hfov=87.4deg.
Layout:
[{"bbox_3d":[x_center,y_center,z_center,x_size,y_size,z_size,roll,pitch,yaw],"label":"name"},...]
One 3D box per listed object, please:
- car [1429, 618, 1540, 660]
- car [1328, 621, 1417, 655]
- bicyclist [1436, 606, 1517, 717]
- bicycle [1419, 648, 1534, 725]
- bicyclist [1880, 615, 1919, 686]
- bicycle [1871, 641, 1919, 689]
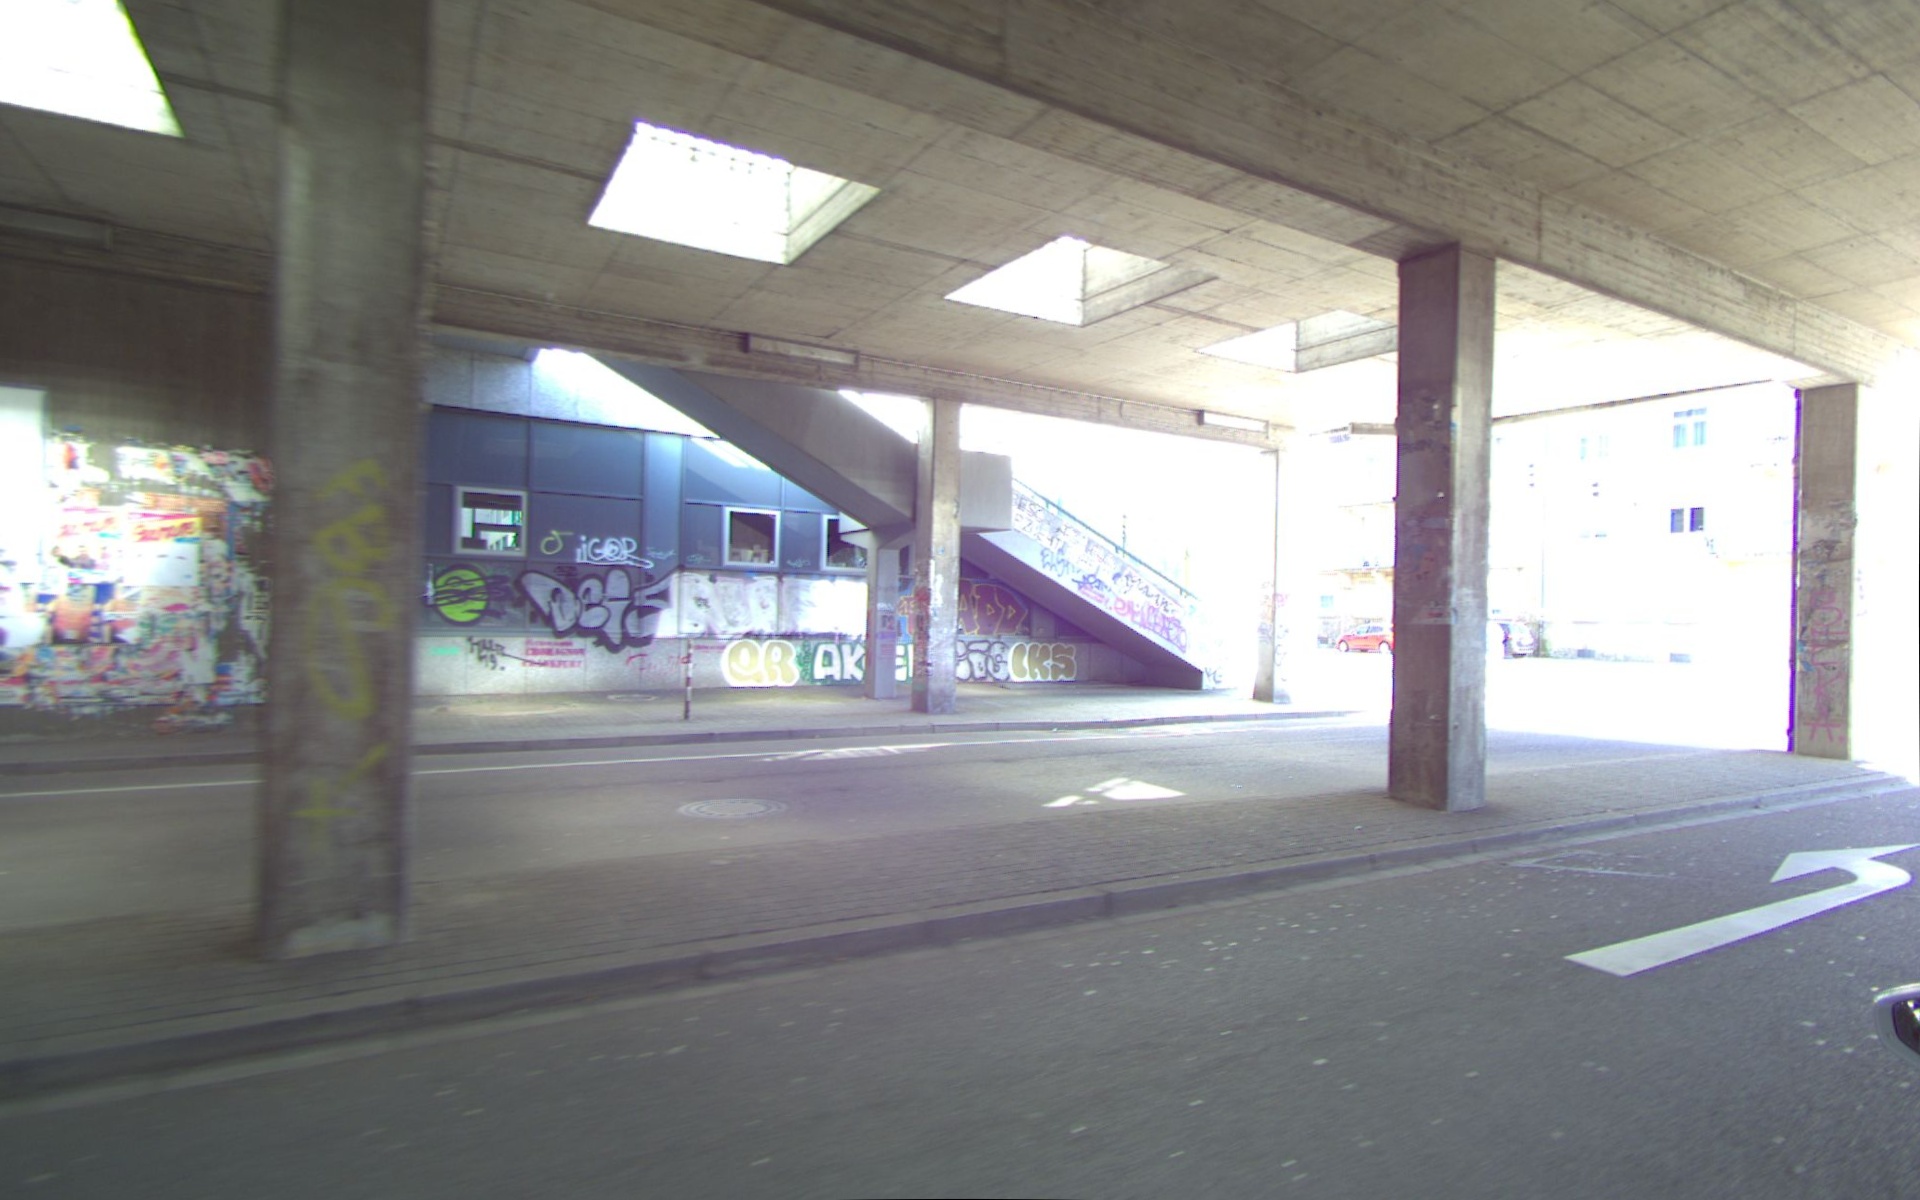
[{"bbox_3d":[23.818,1.721,45.739,1.938,1.747,4.143,0,0,-28],"label":"car"},{"bbox_3d":[20.774,1.896,50.745,1.875,1.561,3.862,0,0,-28],"label":"car"},{"bbox_3d":[8.349,0.966,16.253,0.954,1.734,0.743,0,0,-26],"label":"bicyclist"},{"bbox_3d":[8.364,1.378,16.261,1.835,1.105,0.696,-1,0,-26],"label":"bicycle"},{"bbox_3d":[22.483,1.198,23.872,0.897,1.654,0.604,1,-1,-24],"label":"bicyclist"},{"bbox_3d":[22.491,1.542,23.878,1.834,1.105,0.524,2,-1,-24],"label":"bicycle"}]
